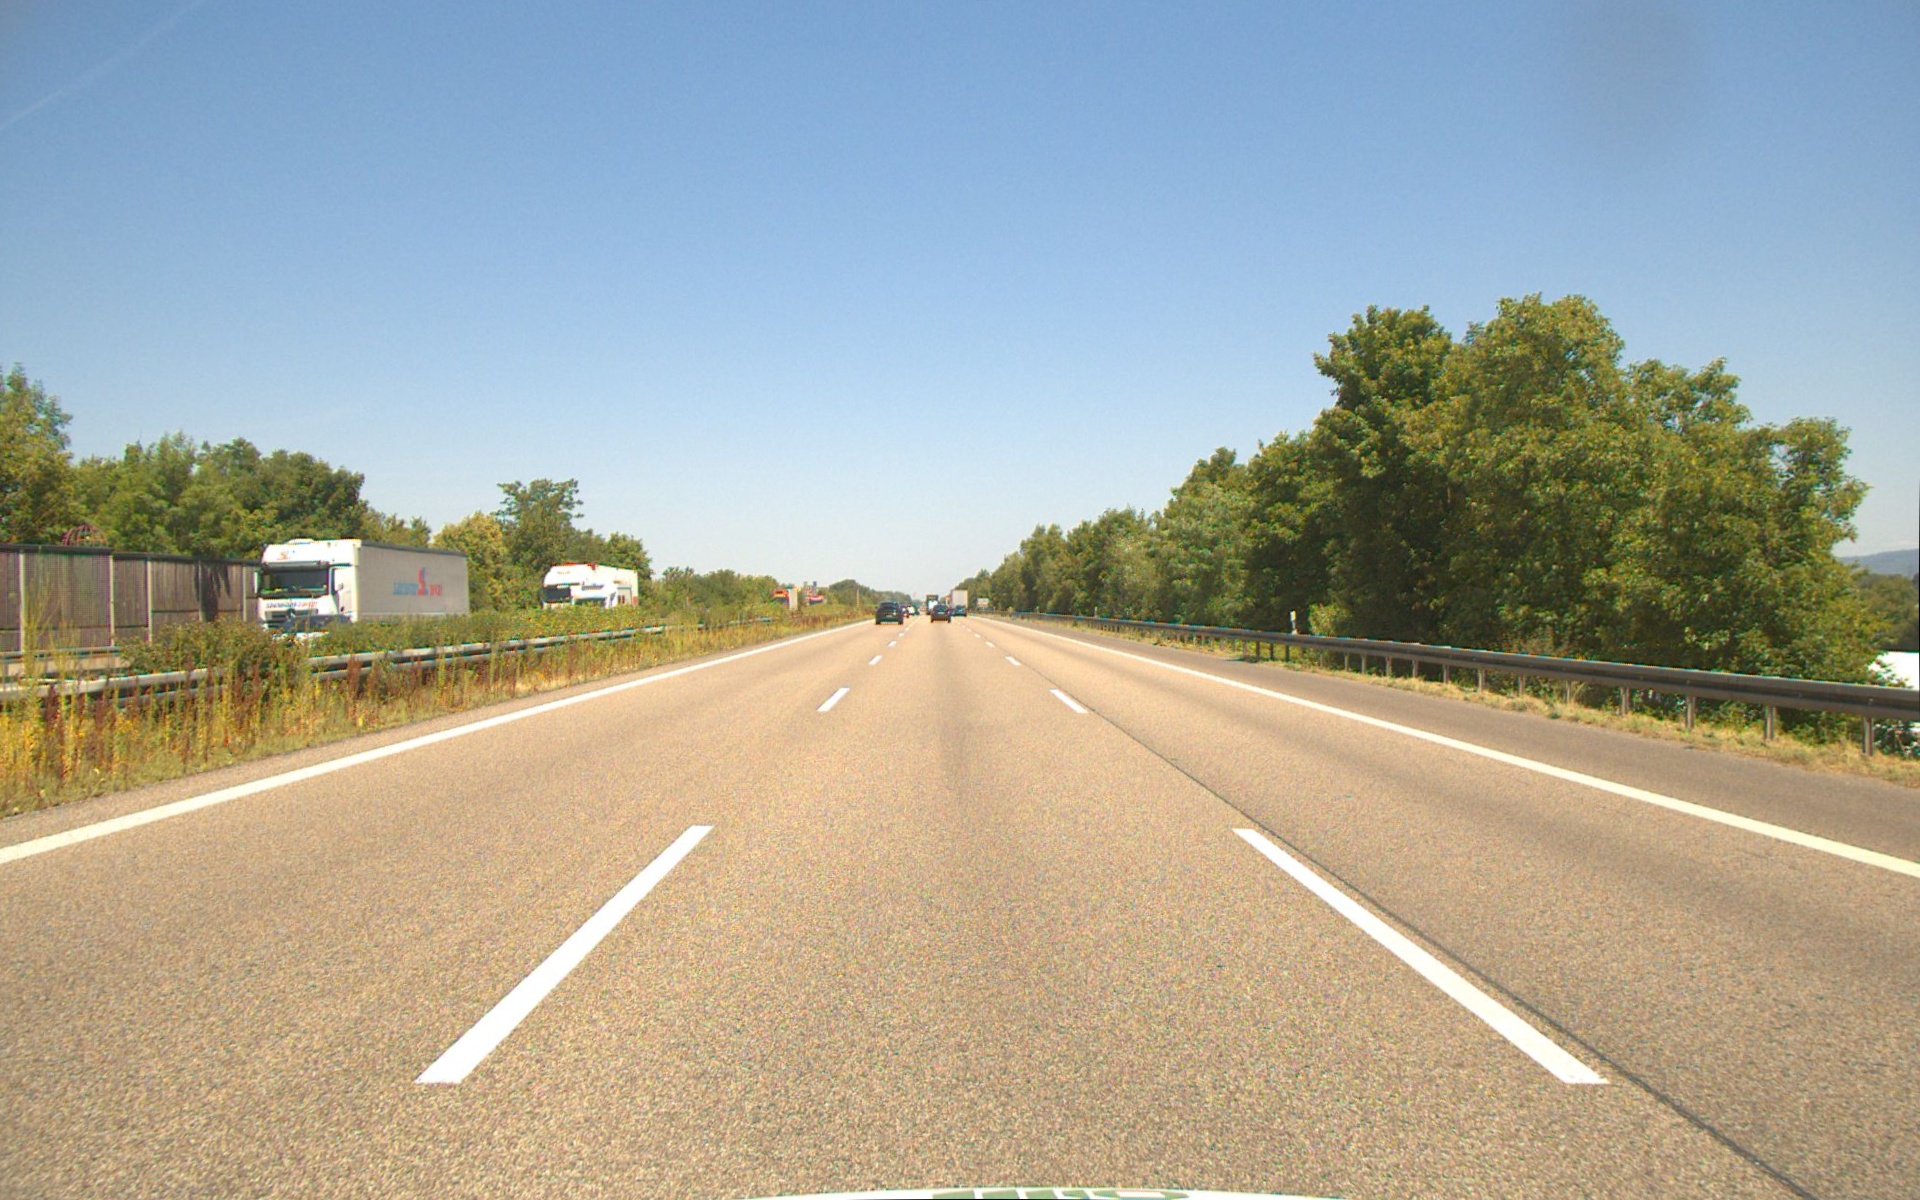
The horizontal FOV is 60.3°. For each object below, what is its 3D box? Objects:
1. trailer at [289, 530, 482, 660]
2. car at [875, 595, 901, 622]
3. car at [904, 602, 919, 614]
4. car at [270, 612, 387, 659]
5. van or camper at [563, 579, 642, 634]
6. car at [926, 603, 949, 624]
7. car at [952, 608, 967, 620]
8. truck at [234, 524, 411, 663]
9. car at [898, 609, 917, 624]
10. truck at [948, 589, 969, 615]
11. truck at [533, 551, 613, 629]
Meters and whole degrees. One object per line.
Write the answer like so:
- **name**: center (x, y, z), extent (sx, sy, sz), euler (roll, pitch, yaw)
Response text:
- **trailer**: center (-22.086, -0.147, 64.640), extent (3.102, 4.556, 12.950), euler (0, 0, -1)
- **car**: center (-5.219, 0.595, 119.750), extent (1.842, 1.823, 3.999), euler (0, 1, -2)
- **car**: center (-7.098, 1.211, 243.789), extent (2.085, 1.674, 4.303), euler (-1, 0, -1)
- **car**: center (-16.790, 0.930, 44.158), extent (1.593, 1.176, 4.078), euler (0, 0, -1)
- **van or camper**: center (-17.886, 0.313, 83.156), extent (2.415, 2.622, 7.409), euler (0, 0, -1)
- **car**: center (-1.813, 1.107, 135.958), extent (1.864, 1.611, 4.303), euler (-1, 0, -1)
- **car**: center (-0.108, 1.987, 229.058), extent (2.085, 1.611, 4.303), euler (-1, 0, -1)
- **truck**: center (-22.041, -0.192, 57.716), extent (3.152, 4.517, 7.869), euler (0, 0, -1)
- **car**: center (-5.939, 1.849, 187.535), extent (2.085, 1.674, 4.303), euler (-1, 0, -1)
- **truck**: center (-0.261, 0.298, 261.069), extent (3.316, 4.040, 9.535), euler (-1, 0, -1)
- **truck**: center (-22.106, -0.574, 94.881), extent (2.784, 4.280, 7.713), euler (0, 0, -1)
